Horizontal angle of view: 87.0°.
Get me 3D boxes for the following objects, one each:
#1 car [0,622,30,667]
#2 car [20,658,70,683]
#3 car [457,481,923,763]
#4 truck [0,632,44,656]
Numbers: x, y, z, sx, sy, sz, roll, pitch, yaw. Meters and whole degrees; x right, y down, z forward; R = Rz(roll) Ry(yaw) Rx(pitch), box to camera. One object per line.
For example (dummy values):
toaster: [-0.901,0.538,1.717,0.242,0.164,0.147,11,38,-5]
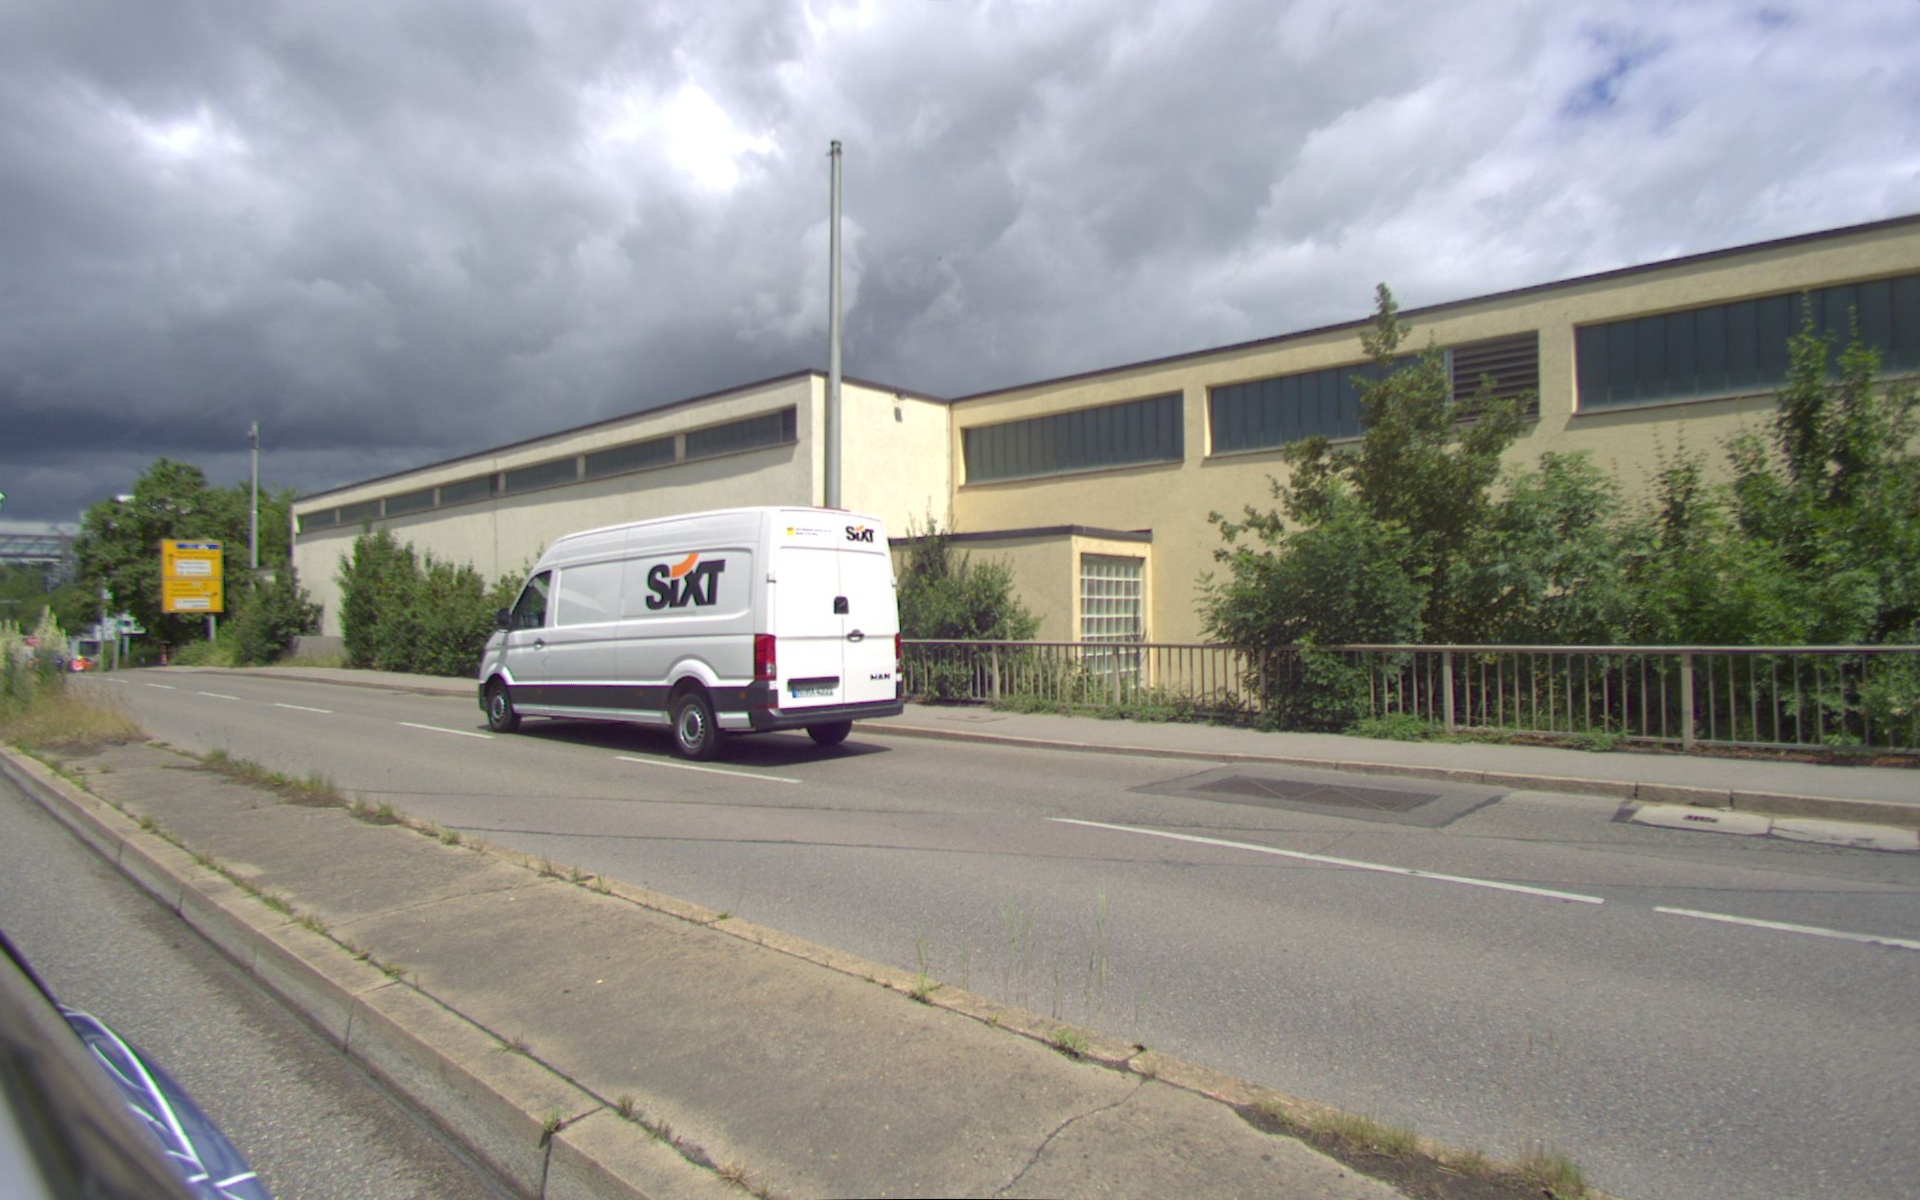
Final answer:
car: [-42.638,1.987,44.535,4.865,1.903,1.973,-3,-2,41]
car: [-51.443,3.941,56.872,4.001,1.285,1.735,-3,-4,44]
car: [-3.623,0.304,12.333,6.818,2.591,2.045,-2,-3,41]
truck: [-161.441,7.582,173.327,8.909,3.595,2.349,-4,-2,16]
